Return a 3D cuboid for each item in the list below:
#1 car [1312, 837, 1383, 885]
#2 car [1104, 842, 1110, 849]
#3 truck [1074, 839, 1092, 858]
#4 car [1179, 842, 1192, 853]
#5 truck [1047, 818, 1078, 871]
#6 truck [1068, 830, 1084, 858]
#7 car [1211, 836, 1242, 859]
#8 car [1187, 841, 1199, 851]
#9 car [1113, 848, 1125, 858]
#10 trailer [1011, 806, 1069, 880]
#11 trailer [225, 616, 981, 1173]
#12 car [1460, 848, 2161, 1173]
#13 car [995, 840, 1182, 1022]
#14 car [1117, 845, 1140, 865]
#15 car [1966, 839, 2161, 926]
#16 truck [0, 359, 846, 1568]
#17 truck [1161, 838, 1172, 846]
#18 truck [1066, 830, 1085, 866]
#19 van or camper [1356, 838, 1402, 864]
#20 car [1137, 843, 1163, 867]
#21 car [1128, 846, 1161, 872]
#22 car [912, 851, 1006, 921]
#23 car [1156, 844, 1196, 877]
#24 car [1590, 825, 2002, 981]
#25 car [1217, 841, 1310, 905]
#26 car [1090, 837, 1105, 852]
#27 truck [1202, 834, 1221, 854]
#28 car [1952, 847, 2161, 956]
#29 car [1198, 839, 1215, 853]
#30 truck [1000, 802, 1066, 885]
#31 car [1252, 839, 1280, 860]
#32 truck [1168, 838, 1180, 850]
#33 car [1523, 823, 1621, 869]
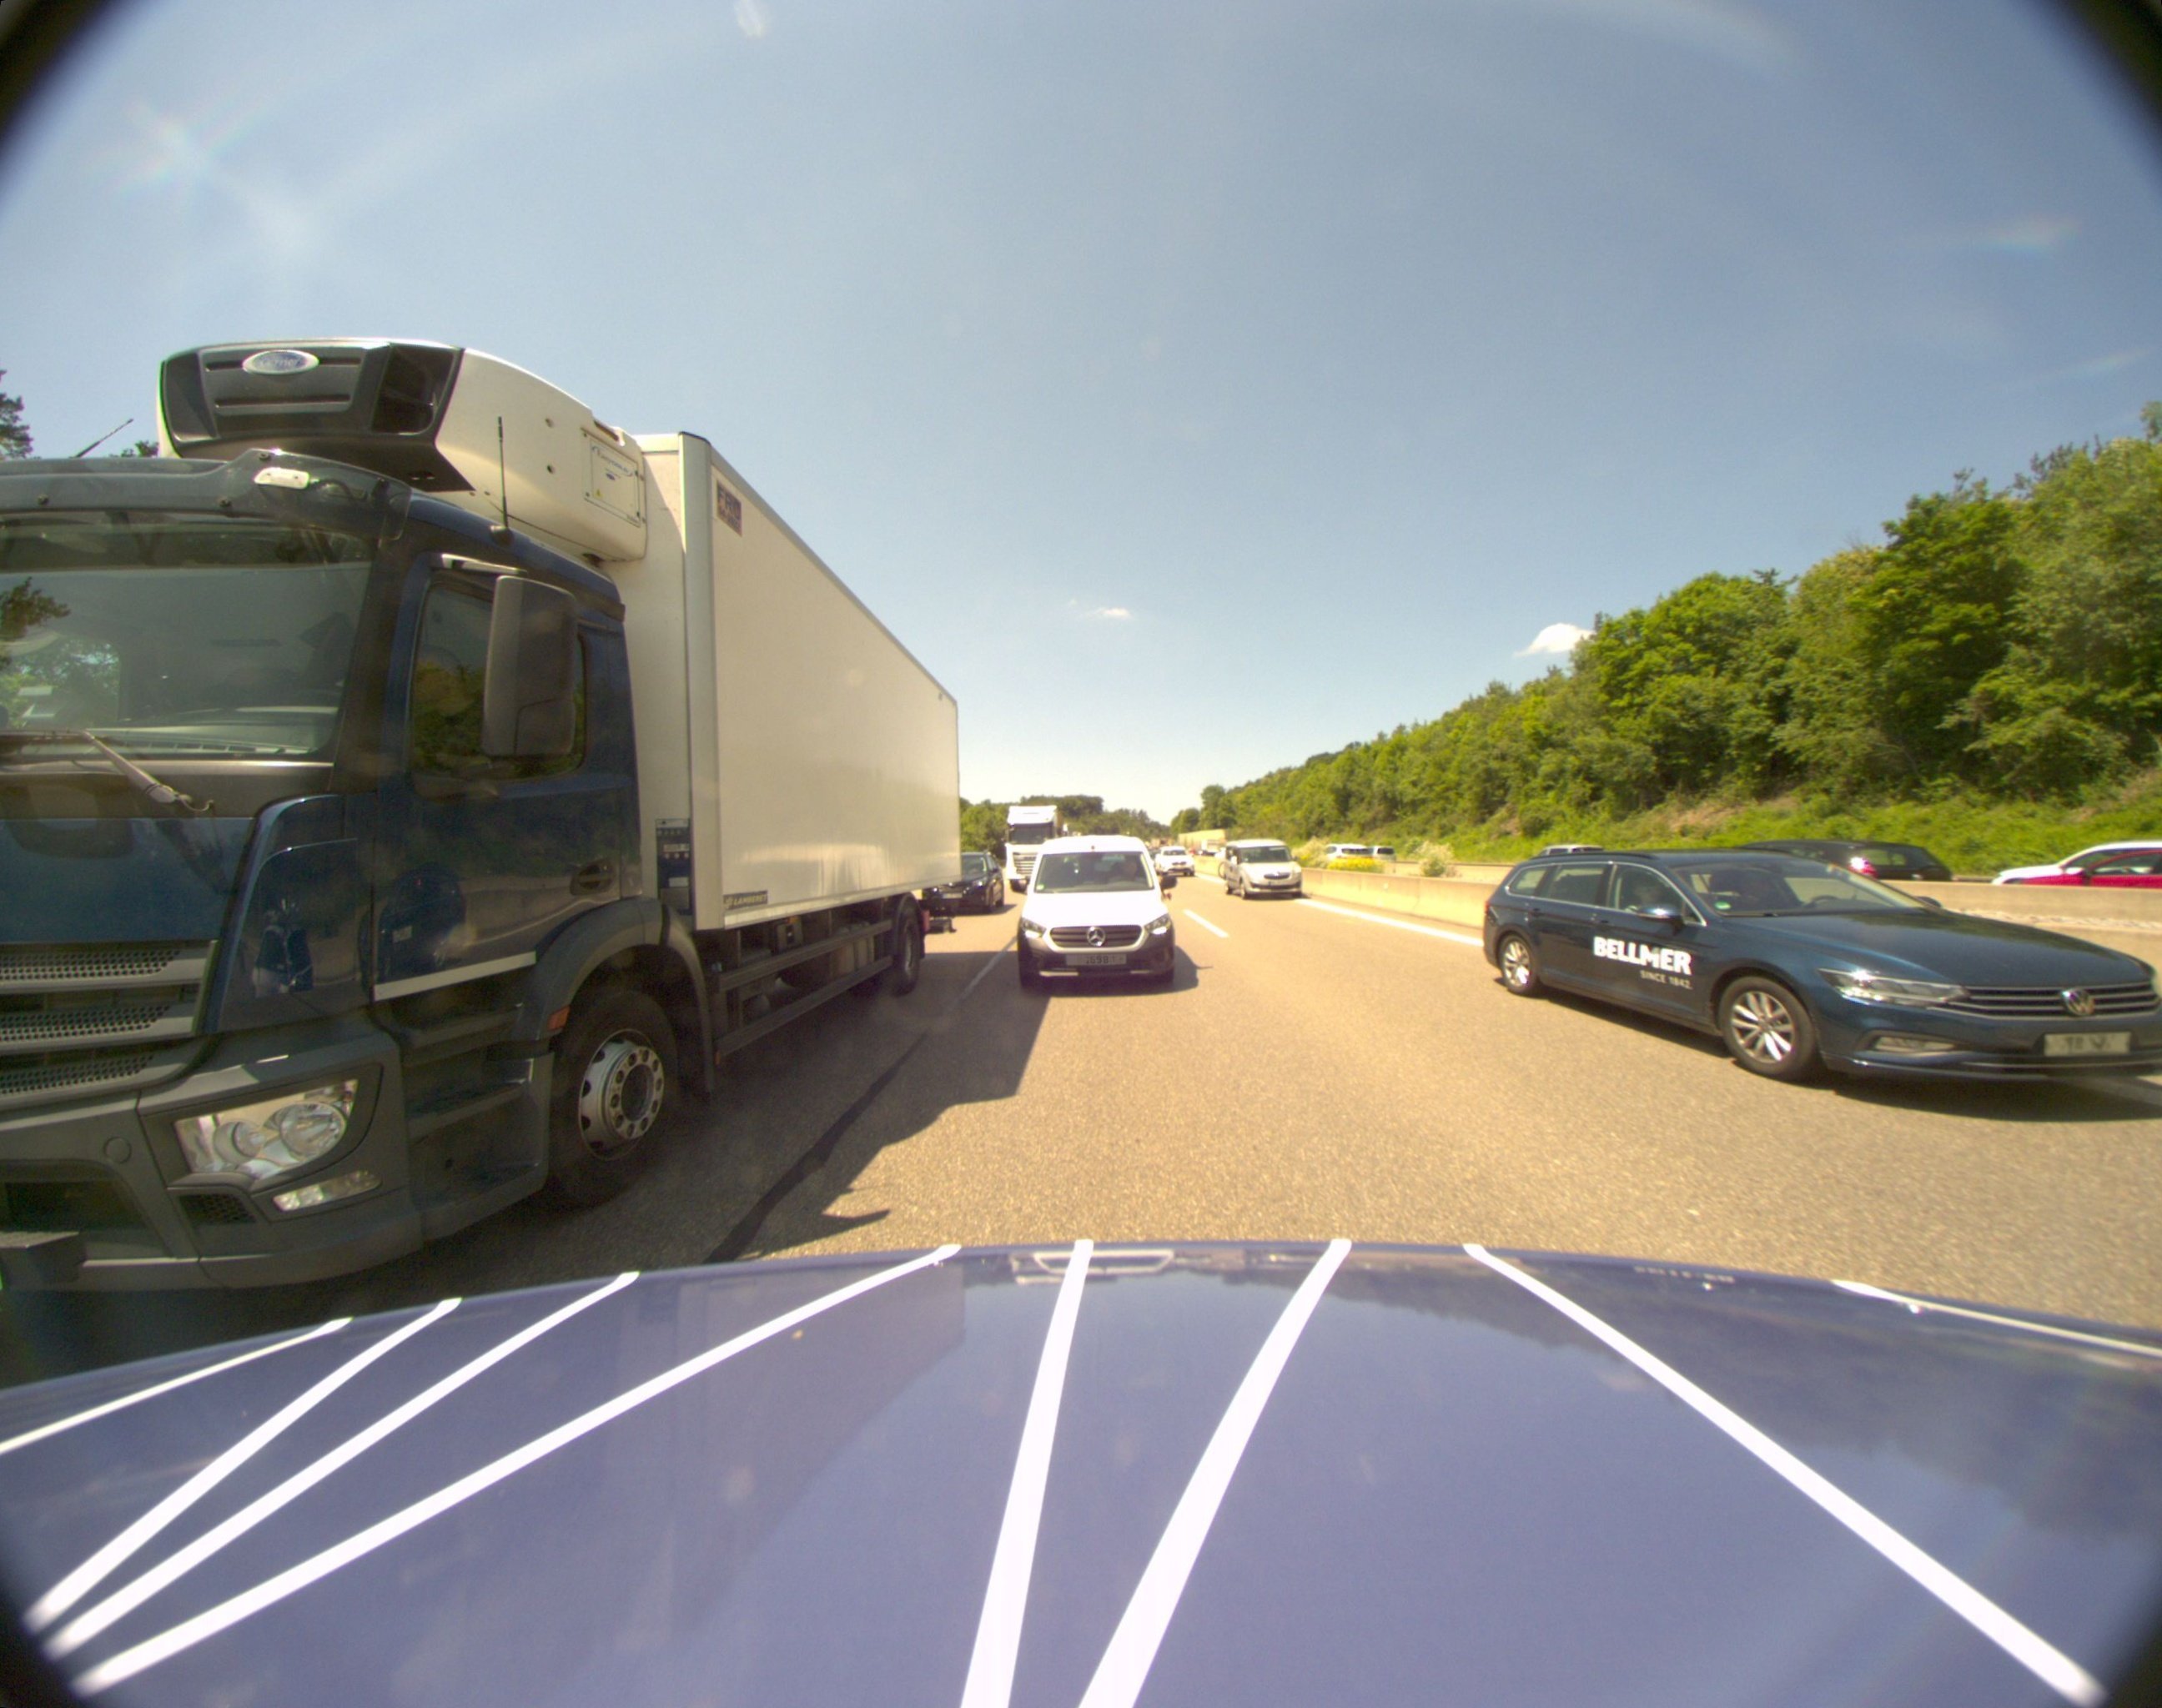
[{"bbox_3d":[12.437,0.262,35.716,1.998,2.002,4.347,-2,2,3],"label":"car"},{"bbox_3d":[8.612,-2.902,253.160,1.998,2.002,3.998,-2,2,0],"label":"car"},{"bbox_3d":[0.505,-1.336,190.358,4.084,4.403,11.396,-2,0,0],"label":"truck"},{"bbox_3d":[19.051,-1.198,138.641,1.857,1.936,4.000,-2,0,0],"label":"car"},{"bbox_3d":[-1.608,-0.826,71.068,2.394,4.438,10.868,-2,0,0],"label":"truck"},{"bbox_3d":[-0.773,-1.435,117.677,2.187,4.073,10.868,-2,0,0],"label":"truck"},{"bbox_3d":[13.513,-0.607,70.779,1.998,2.002,4.192,-2,2,1],"label":"car"},{"bbox_3d":[22.416,-1.570,152.377,1.857,1.936,4.000,-2,0,0],"label":"car"},{"bbox_3d":[6.529,-0.217,131.297,1.803,1.660,4.000,-2,0,0],"label":"car"},{"bbox_3d":[-2.335,-0.757,47.451,2.766,4.061,11.614,0,2,1],"label":"trailer"},{"bbox_3d":[-3.063,0.194,7.970,2.562,2.882,7.882,-2,1,3],"label":"trailer"},{"bbox_3d":[5.037,0.737,5.945,1.879,1.442,4.677,-2,1,1],"label":"car"},{"bbox_3d":[0.139,0.710,9.523,1.756,1.681,4.363,-2,2,2],"label":"car"},{"bbox_3d":[4.867,0.091,77.635,1.999,2.002,3.999,-2,0,-1],"label":"car"},{"bbox_3d":[23.062,0.560,16.698,1.998,1.682,4.512,-2,2,0],"label":"car"},{"bbox_3d":[-3.242,0.270,3.924,2.562,2.924,4.103,-1,2,2],"label":"truck"},{"bbox_3d":[24.258,-3.468,216.111,2.357,2.002,6.490,-3,2,0],"label":"truck"},{"bbox_3d":[-0.666,-0.742,98.277,2.187,4.438,10.868,-2,0,0],"label":"truck"},{"bbox_3d":[24.498,-0.283,62.666,1.998,2.002,4.680,-2,2,2],"label":"van or camper"},{"bbox_3d":[5.984,0.117,65.954,1.998,2.001,4.001,0,-1,2],"label":"car"},{"bbox_3d":[4.578,0.349,55.581,1.999,1.747,3.998,-2,2,0],"label":"car"},{"bbox_3d":[-3.308,0.800,21.579,1.999,1.682,4.609,-1,2,-1],"label":"car"},{"bbox_3d":[5.332,0.338,43.190,1.824,1.696,3.999,-2,2,1],"label":"car"},{"bbox_3d":[11.199,0.589,12.641,1.999,2.002,5.153,-2,2,0],"label":"car"},{"bbox_3d":[5.715,0.506,24.400,1.857,1.762,4.917,-2,2,1],"label":"car"},{"bbox_3d":[2.452,-1.439,111.109,1.999,2.002,3.998,-2,2,-1],"label":"car"},{"bbox_3d":[26.370,-2.063,153.821,2.699,3.967,7.988,-2,2,1],"label":"truck"},{"bbox_3d":[18.914,0.793,13.381,1.998,1.682,4.512,-2,2,0],"label":"car"},{"bbox_3d":[18.215,-1.187,110.374,1.998,2.002,3.999,-2,2,2],"label":"car"},{"bbox_3d":[-2.440,-0.623,41.454,2.766,4.061,7.333,-2,2,2],"label":"truck"},{"bbox_3d":[19.119,-0.503,78.780,1.998,2.002,4.282,-2,2,2],"label":"car"},{"bbox_3d":[23.292,-2.578,189.810,2.183,2.868,6.741,-2,2,1],"label":"truck"},{"bbox_3d":[23.284,-0.432,36.252,1.998,2.002,4.472,-2,2,4],"label":"car"}]
